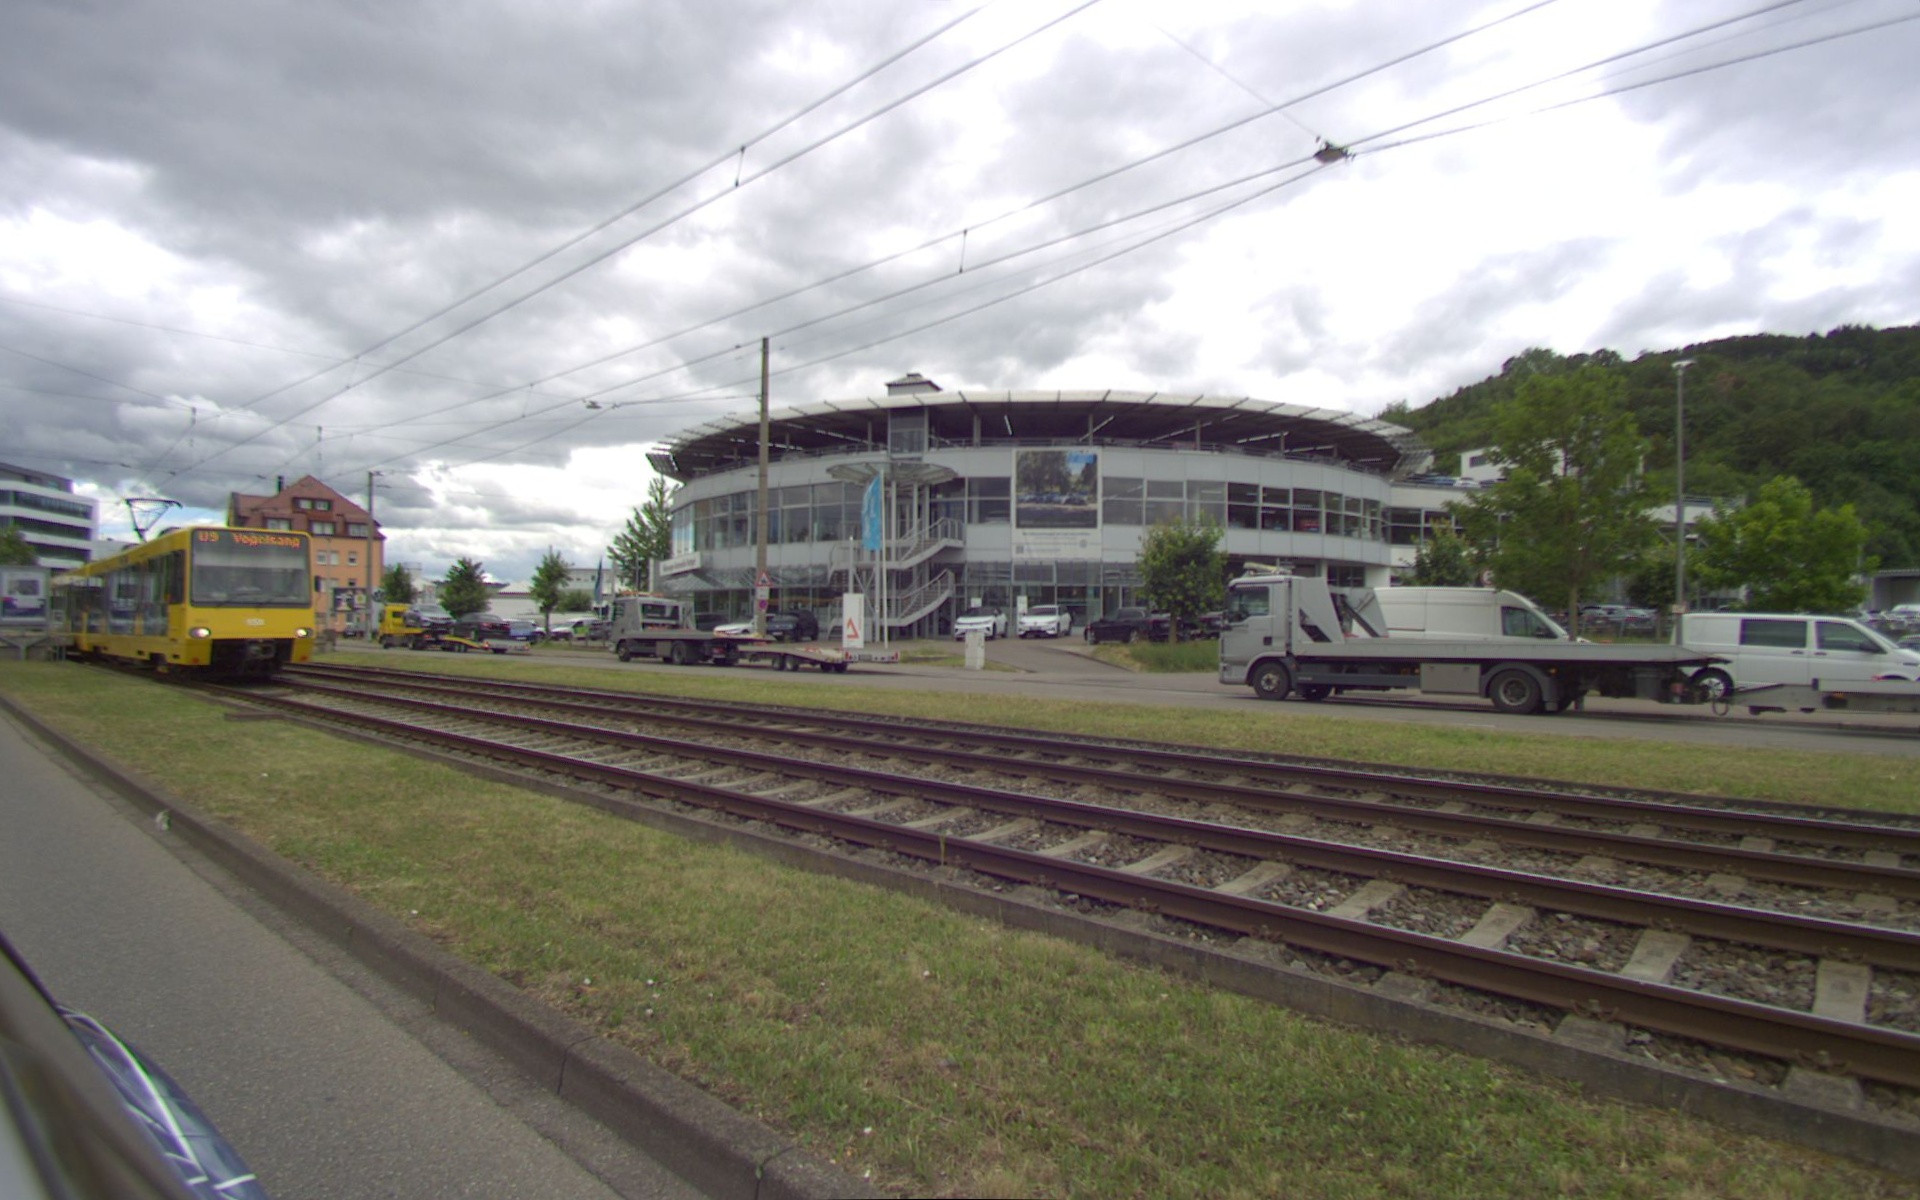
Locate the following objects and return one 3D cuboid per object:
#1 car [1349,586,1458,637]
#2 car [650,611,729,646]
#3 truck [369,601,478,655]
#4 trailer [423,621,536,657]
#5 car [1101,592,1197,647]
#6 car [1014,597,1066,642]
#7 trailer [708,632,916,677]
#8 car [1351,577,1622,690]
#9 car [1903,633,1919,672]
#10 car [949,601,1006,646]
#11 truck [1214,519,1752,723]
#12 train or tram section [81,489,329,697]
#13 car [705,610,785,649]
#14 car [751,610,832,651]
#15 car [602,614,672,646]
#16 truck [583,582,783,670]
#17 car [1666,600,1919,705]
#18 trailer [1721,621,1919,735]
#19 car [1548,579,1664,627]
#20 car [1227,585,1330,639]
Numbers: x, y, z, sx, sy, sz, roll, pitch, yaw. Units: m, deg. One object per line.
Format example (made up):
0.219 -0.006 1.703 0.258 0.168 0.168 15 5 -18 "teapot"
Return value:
18.572 0.493 42.584 1.966 2.029 4.012 1 -1 -18 "car"
-15.342 1.616 57.462 3.933 1.962 2.005 1 -2 -34 "car"
-30.954 1.634 58.204 9.071 2.881 3.015 -2 -2 45 "truck"
-24.963 1.975 52.392 2.943 1.701 7.572 1 -2 -45 "trailer"
7.303 0.770 39.529 1.966 2.029 4.012 0 -2 -18 "car"
3.822 0.954 47.762 1.979 2.029 3.985 -1 -2 12 "car"
-4.904 1.734 32.610 7.009 1.287 3.014 -2 -4 44 "trailer"
13.154 0.835 25.490 5.847 2.580 1.977 -1 -2 34 "car"
37.059 1.921 36.851 1.649 1.447 3.724 1 -2 -36 "car"
0.861 1.108 47.667 1.979 2.029 3.985 -1 -2 12 "car"
9.204 0.467 18.904 2.830 3.004 8.461 4 -4 -44 "truck"
-20.739 -0.076 26.966 3.348 4.037 16.960 -1 0 -43 "train or tram section"
-11.253 1.554 53.214 1.993 1.962 3.958 -1 -2 31 "car"
-8.430 1.543 50.895 1.993 1.962 3.958 -1 -2 31 "car"
-20.264 1.884 63.464 3.930 1.962 2.006 1 -2 -25 "car"
-10.633 1.037 38.212 8.963 2.944 3.072 -2 -4 44 "truck"
18.062 1.063 21.440 1.970 2.029 4.810 2 -2 -45 "car"
14.705 1.071 13.264 2.725 1.507 7.230 4 -4 -44 "trailer"
28.913 0.168 45.427 1.966 2.029 4.012 1 -1 -18 "car"
12.764 0.515 40.792 1.966 2.029 4.012 0 -2 -18 "car"
